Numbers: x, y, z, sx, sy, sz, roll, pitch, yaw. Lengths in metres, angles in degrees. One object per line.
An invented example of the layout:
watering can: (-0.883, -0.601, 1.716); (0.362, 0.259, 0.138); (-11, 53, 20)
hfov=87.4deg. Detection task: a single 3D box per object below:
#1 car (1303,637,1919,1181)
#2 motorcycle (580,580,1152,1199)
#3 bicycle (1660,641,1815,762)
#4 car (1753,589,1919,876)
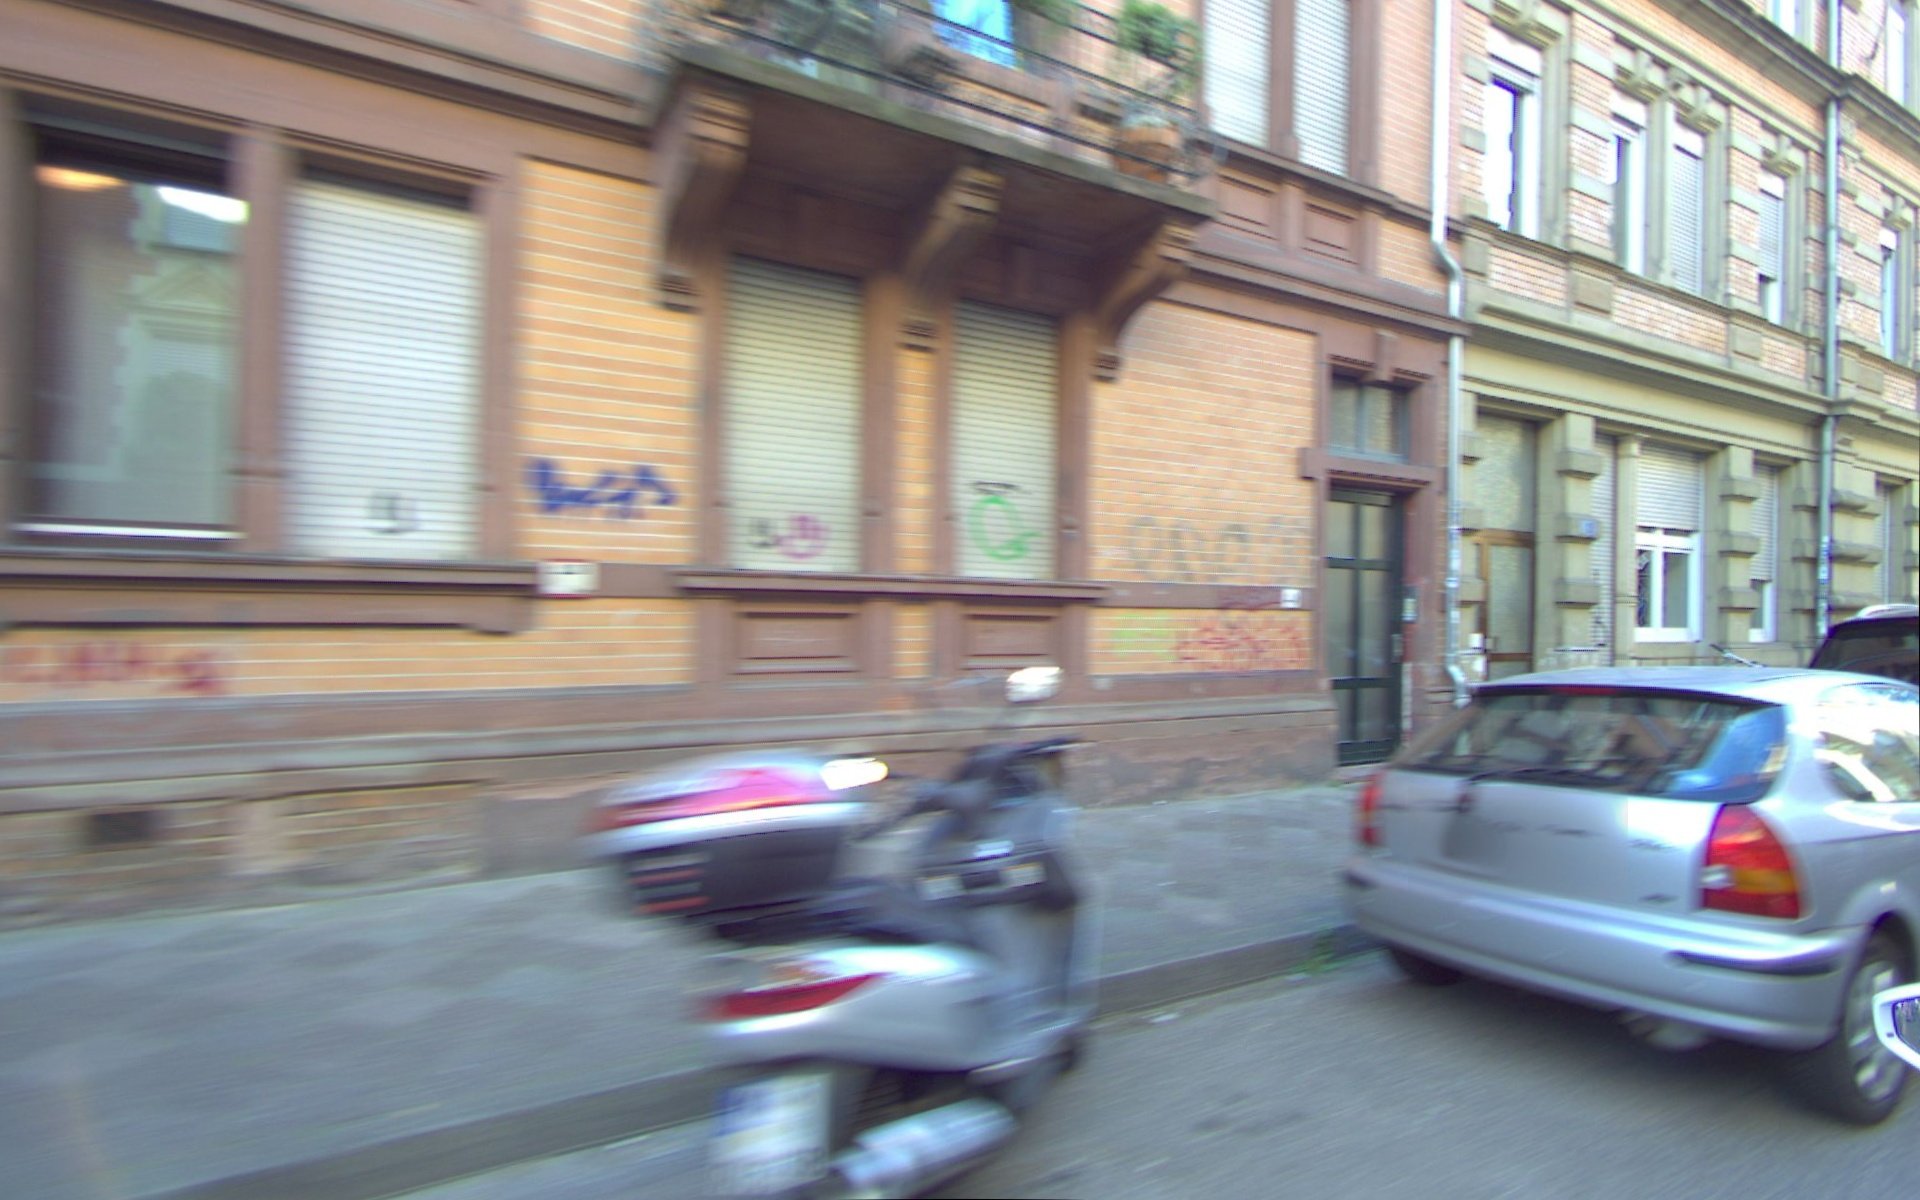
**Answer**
car: (3.570, 0.908, 4.438); (3.954, 1.331, 1.690); (2, 2, -31)
motorcycle: (-0.008, 0.717, 2.846); (0.827, 1.378, 2.198); (-2, -3, 17)
bicycle: (8.328, 1.042, 10.750); (1.764, 1.140, 0.663); (1, 2, -30)
car: (7.560, 0.813, 6.865); (4.553, 1.646, 1.779); (1, 1, -30)
